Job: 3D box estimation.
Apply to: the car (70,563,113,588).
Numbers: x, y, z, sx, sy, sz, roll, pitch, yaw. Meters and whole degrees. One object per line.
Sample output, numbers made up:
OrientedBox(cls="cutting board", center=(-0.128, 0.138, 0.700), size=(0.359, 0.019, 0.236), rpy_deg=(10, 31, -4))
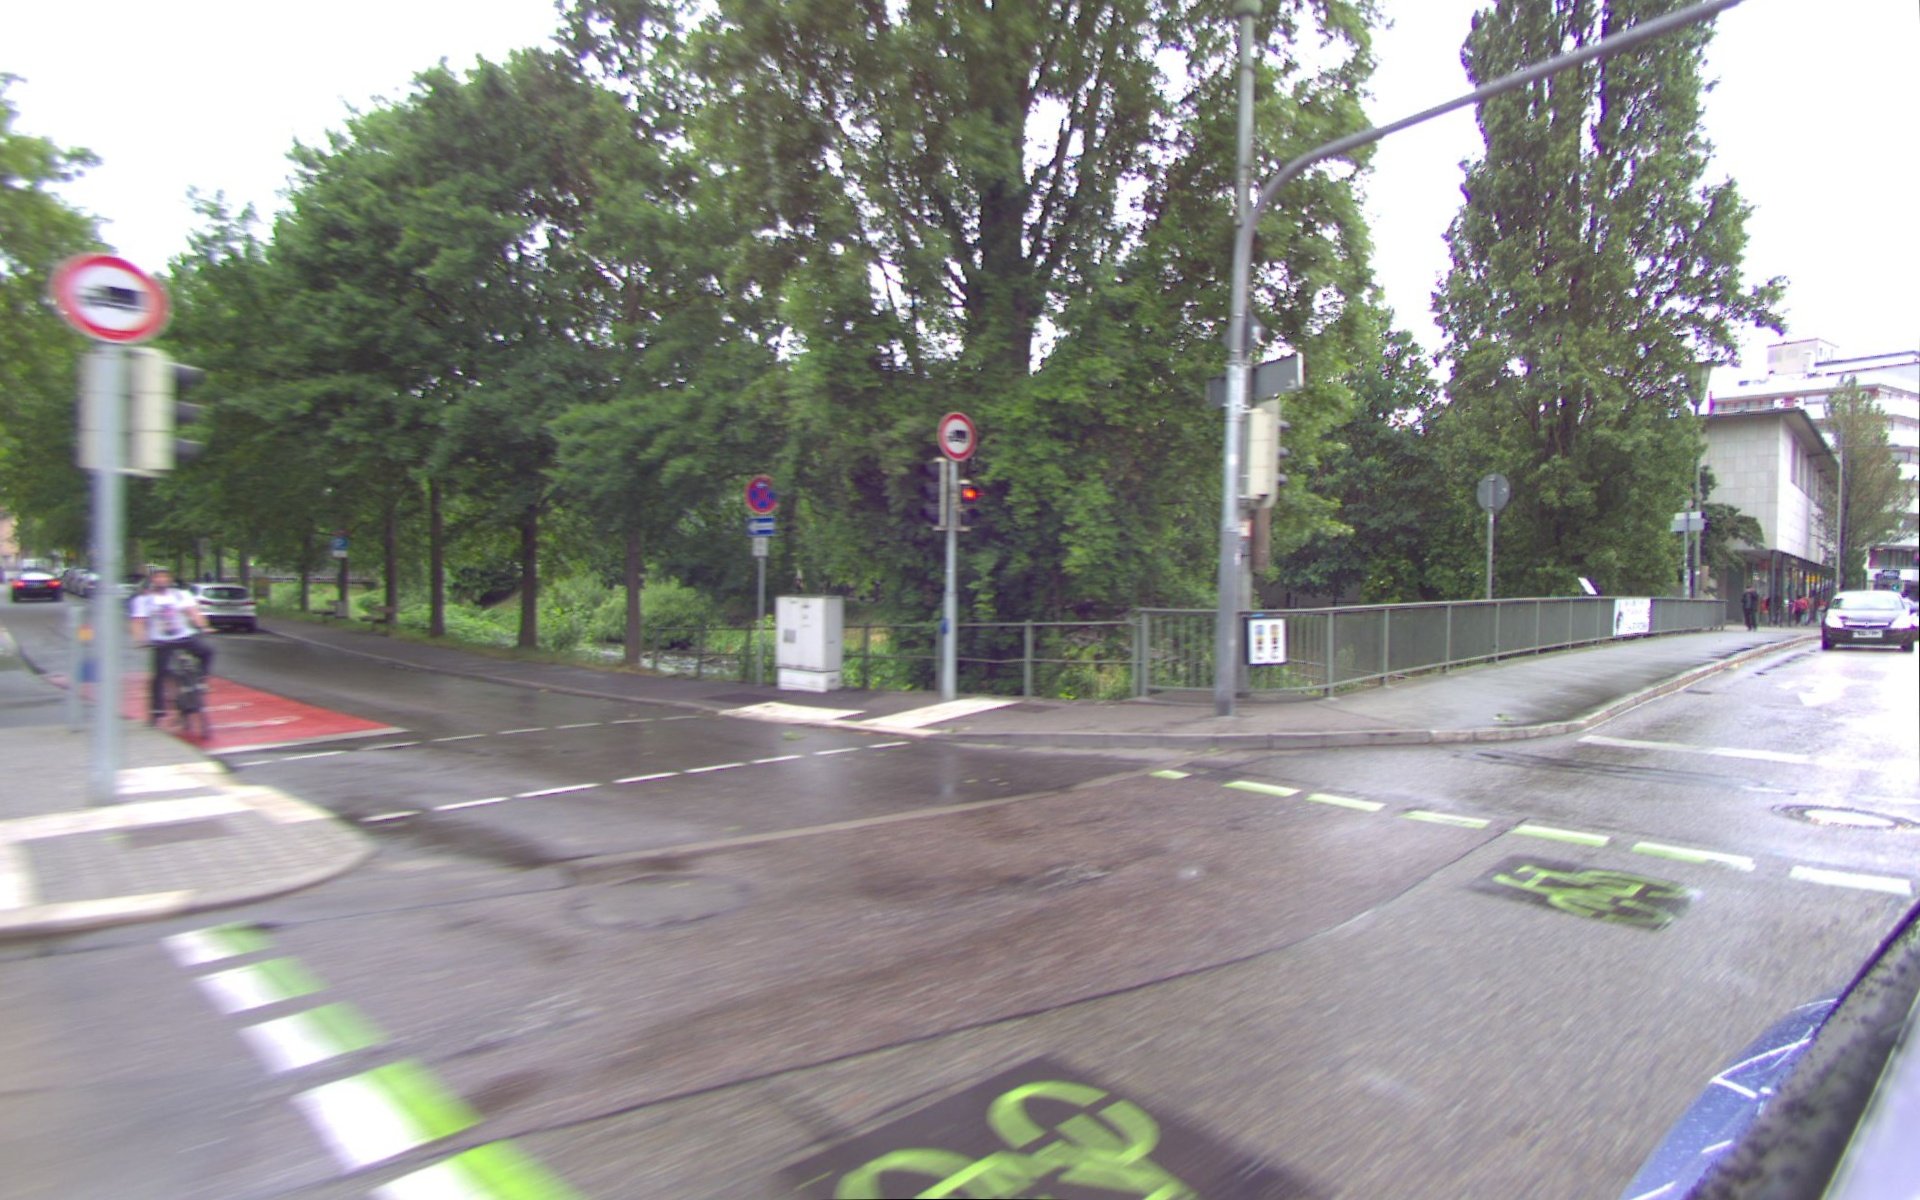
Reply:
OrientedBox(cls="car", center=(-54.719, -1.529, 63.789), size=(1.965, 1.566, 3.994), rpy_deg=(-1, 1, -41))

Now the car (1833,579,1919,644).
OrientedBox(cls="car", center=(22.675, 0.269, 24.868), size=(1.708, 1.475, 3.683), rpy_deg=(1, 0, 43))

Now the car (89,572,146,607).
OrientedBox(cls="car", center=(-39.316, -0.492, 47.234), size=(1.965, 1.566, 3.994), rpy_deg=(-1, 1, -41))

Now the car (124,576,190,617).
OrientedBox(cls="car", center=(-32.375, -0.180, 40.760), size=(1.965, 1.566, 3.994), rpy_deg=(-1, 1, -41))

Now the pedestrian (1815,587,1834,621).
OrientedBox(cls="pedestrian", center=(47.743, 0.204, 55.869), size=(0.698, 1.824, 0.597), rpy_deg=(3, 2, 45))

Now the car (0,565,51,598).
OrientedBox(cls="car", center=(-46.037, -0.906, 49.862), size=(1.727, 1.566, 3.994), rpy_deg=(-1, 1, -41))

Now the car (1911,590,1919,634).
OrientedBox(cls="car", center=(33.627, 0.402, 34.574), size=(1.592, 1.459, 3.569), rpy_deg=(1, 1, 44))

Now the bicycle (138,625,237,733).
OrientedBox(cls="bicycle", center=(-8.964, 0.867, 11.715), size=(1.943, 1.137, 0.512), rpy_deg=(-1, -1, 40))

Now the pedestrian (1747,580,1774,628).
OrientedBox(cls="pedestrian", center=(28.558, 0.151, 36.091), size=(0.640, 1.685, 0.554), rpy_deg=(3, 0, 44))

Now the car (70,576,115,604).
OrientedBox(cls="car", center=(-51.269, -0.592, 59.853), size=(1.965, 1.566, 3.994), rpy_deg=(-1, 1, -41))

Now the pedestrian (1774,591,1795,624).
OrientedBox(cls="pedestrian", center=(42.212, 0.383, 51.832), size=(0.726, 1.609, 0.597), rpy_deg=(3, 2, 45))

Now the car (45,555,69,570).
OrientedBox(cls="car", center=(-102.711, -4.244, 115.147), size=(1.965, 1.566, 3.994), rpy_deg=(-1, 1, -41))

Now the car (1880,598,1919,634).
OrientedBox(cls="car", center=(46.394, 0.754, 49.487), size=(4.176, 1.700, 1.733), rpy_deg=(-1, 0, -42))

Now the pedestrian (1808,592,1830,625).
OrientedBox(cls="pedestrian", center=(43.134, 0.414, 50.823), size=(0.717, 1.640, 0.757), rpy_deg=(3, 2, 44))

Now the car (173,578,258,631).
OrientedBox(cls="car", center=(-23.463, 0.100, 31.837), size=(1.858, 1.566, 3.994), rpy_deg=(-1, 1, -41))

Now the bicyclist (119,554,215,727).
OrientedBox(cls="bicyclist", center=(-9.157, 0.452, 11.691), size=(0.641, 1.911, 0.742), rpy_deg=(-1, -1, 38))

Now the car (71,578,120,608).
OrientedBox(cls="car", center=(-47.215, -0.412, 55.277), size=(1.965, 1.566, 3.994), rpy_deg=(-1, 1, -41))
